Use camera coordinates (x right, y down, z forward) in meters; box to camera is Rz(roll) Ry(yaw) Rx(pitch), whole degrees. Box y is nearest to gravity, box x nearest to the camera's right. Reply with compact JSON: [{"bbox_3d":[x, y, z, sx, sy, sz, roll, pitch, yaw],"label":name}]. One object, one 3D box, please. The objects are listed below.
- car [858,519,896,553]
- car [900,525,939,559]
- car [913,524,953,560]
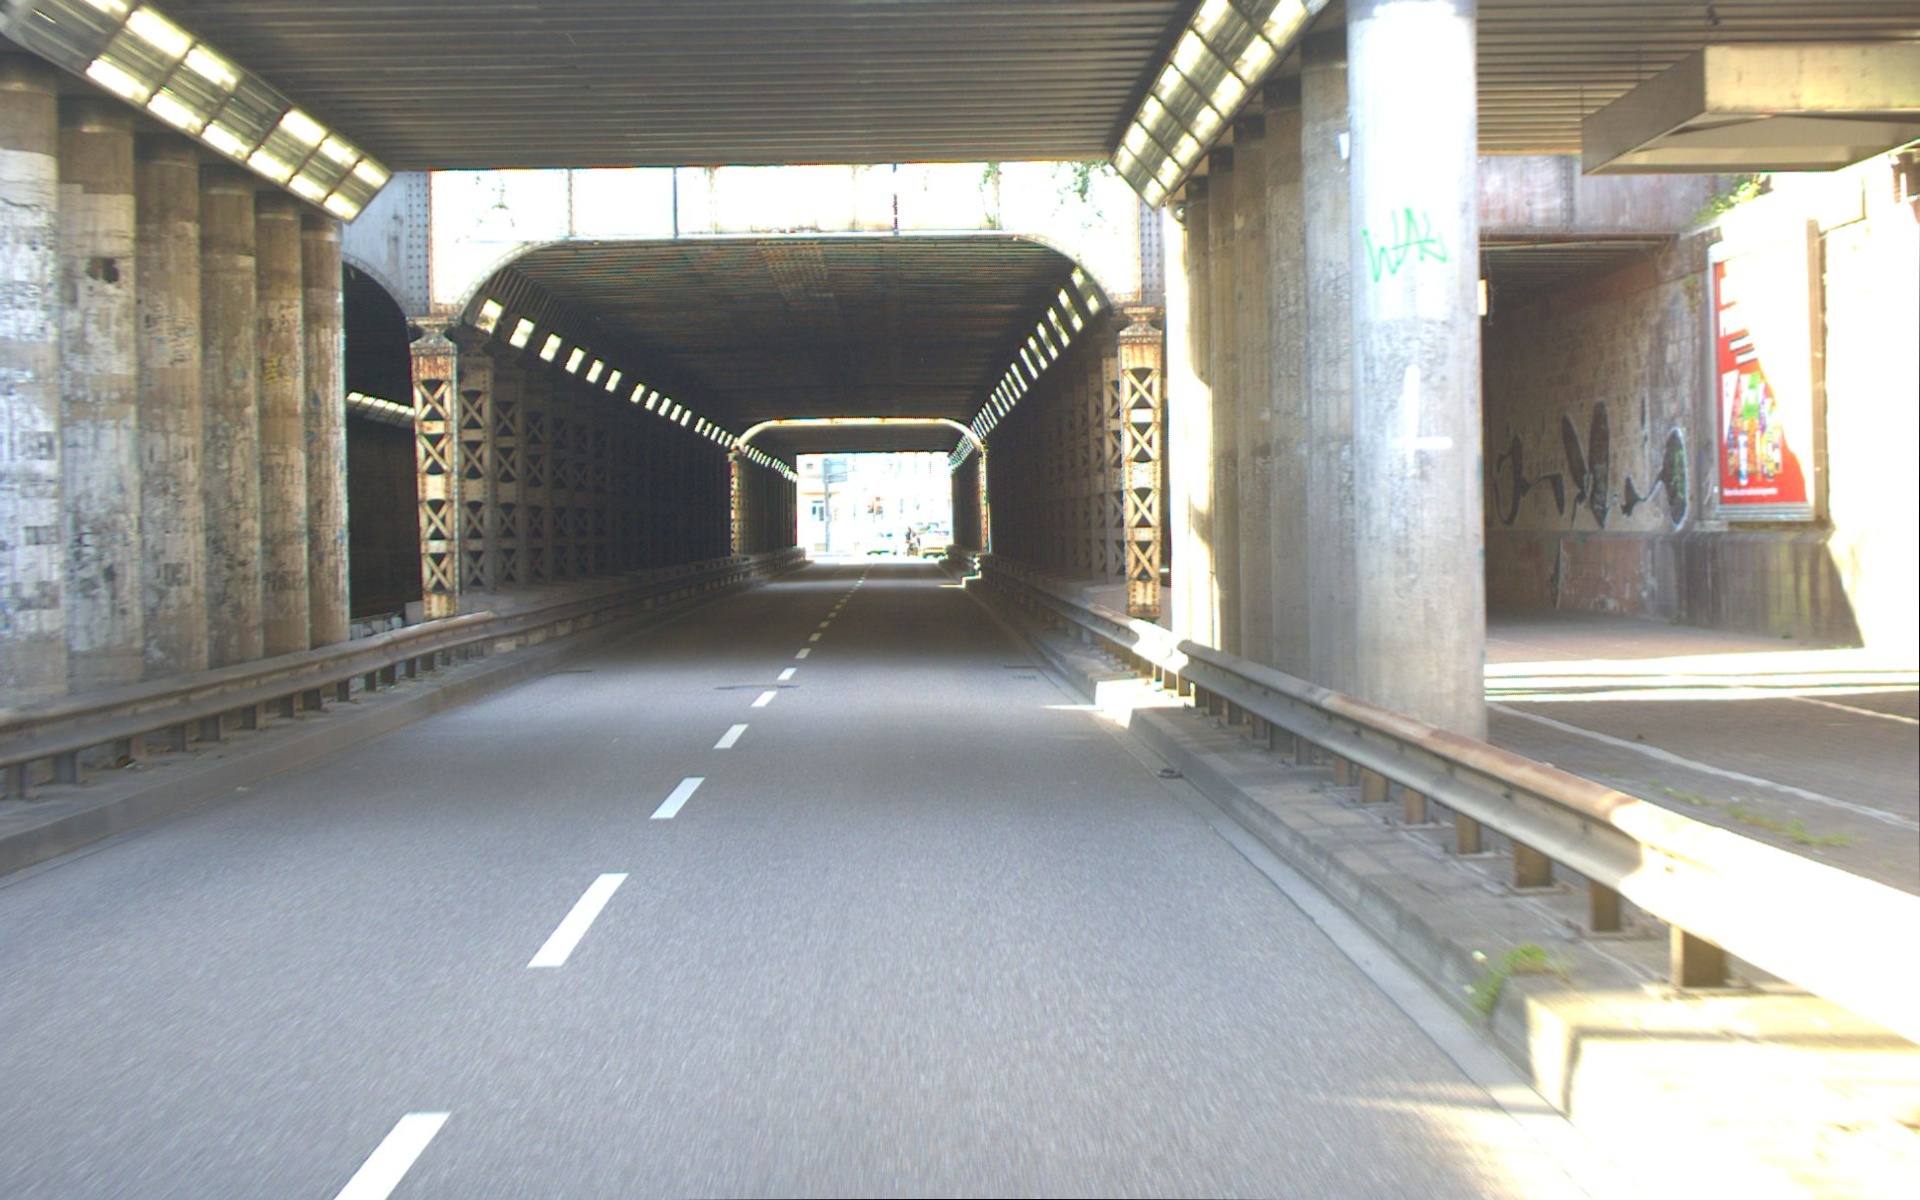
[{"bbox_3d":[-4.636,-3.582,192.185,1.993,1.778,4.000,-2,1,-1],"label":"car"},{"bbox_3d":[-2.202,-3.146,185.547,1.993,1.778,4.000,-2,1,-1],"label":"car"},{"bbox_3d":[-1.392,-2.987,176.128,1.993,1.778,4.000,-1,1,-1],"label":"car"}]
